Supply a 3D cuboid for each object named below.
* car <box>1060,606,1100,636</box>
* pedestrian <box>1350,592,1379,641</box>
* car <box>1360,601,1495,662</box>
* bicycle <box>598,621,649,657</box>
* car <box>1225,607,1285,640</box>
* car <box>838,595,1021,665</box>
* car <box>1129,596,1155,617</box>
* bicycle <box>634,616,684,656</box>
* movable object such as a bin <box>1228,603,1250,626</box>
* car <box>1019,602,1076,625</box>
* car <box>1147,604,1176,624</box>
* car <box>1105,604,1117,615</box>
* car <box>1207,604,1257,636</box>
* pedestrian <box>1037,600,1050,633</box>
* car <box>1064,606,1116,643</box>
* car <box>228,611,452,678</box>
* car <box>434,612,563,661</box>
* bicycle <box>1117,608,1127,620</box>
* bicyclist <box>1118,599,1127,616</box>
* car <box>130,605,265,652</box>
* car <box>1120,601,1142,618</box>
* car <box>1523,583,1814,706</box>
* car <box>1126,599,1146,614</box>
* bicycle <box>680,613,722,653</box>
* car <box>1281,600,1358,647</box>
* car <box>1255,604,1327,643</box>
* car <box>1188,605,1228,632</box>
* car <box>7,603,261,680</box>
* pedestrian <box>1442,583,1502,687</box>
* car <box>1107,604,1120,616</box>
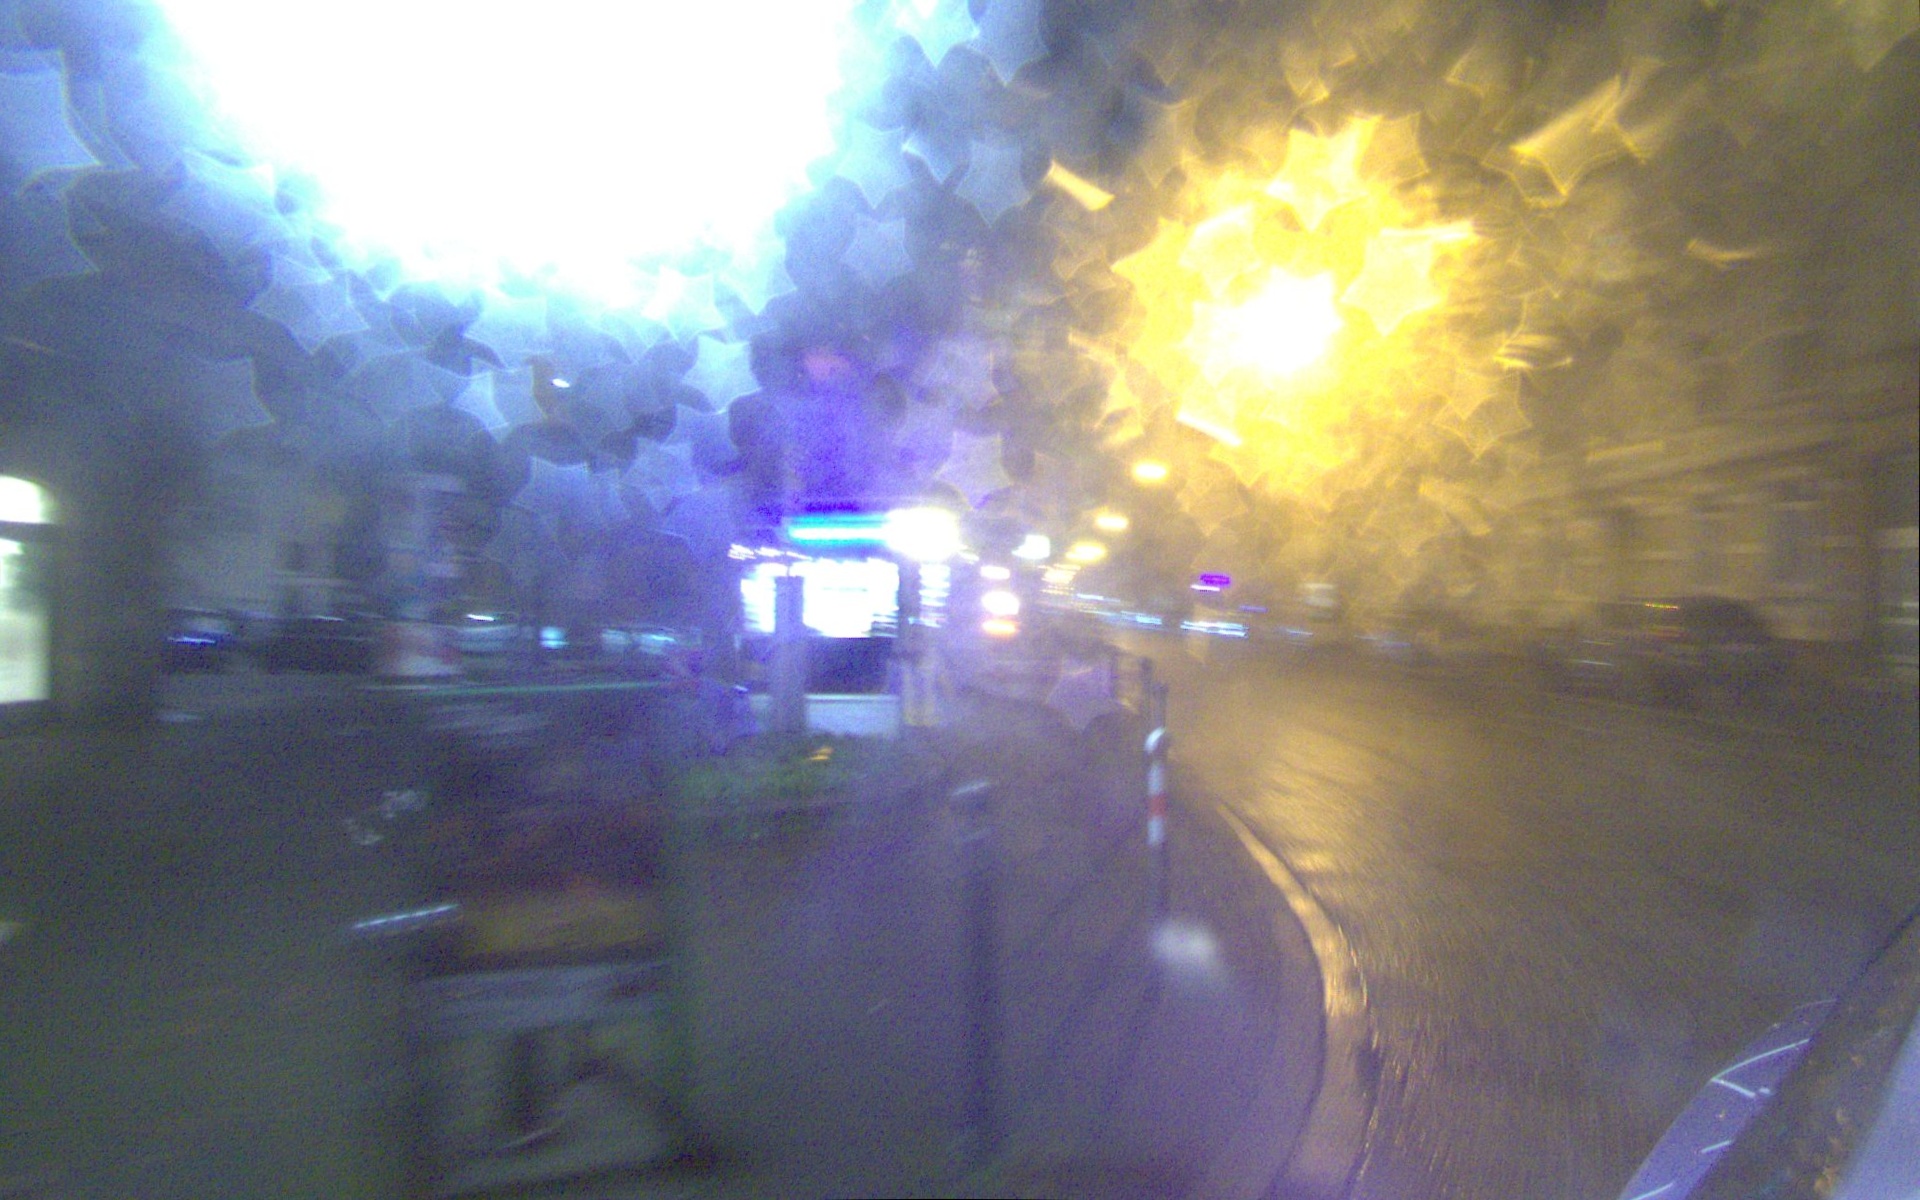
[{"bbox_3d":[6.228,1.069,52.686,1.663,1.517,3.890,0,0,1],"label":"car"},{"bbox_3d":[15.491,0.638,38.765,0.733,1.827,0.984,-3,0,8],"label":"pedestrian"},{"bbox_3d":[12.501,0.783,27.391,1.806,1.505,4.588,-1,0,5],"label":"car"},{"bbox_3d":[-10.596,1.210,31.957,0.691,1.023,1.979,-3,0,9],"label":"bicycle"},{"bbox_3d":[13.632,1.056,46.961,1.795,1.407,4.420,0,0,4],"label":"car"},{"bbox_3d":[-0.754,0.752,26.696,4.501,1.638,1.921,1,-1,10],"label":"car"},{"bbox_3d":[16.967,0.610,94.518,1.967,1.853,5.198,0,0,5],"label":"car"},{"bbox_3d":[-9.447,1.111,31.793,0.691,1.130,1.979,-3,0,9],"label":"bicycle"},{"bbox_3d":[18.161,0.943,65.975,1.084,1.472,1.378,1,0,3],"label":"movable object such as a bin"},{"bbox_3d":[6.917,1.022,80.168,4.447,1.550,1.778,3,0,5],"label":"car"},{"bbox_3d":[16.306,1.106,82.035,1.742,1.502,4.764,-4,-1,5],"label":"car"},{"bbox_3d":[20.764,1.323,139.206,1.670,1.498,3.374,-1,-2,8],"label":"car"},{"bbox_3d":[14.045,1.020,52.500,1.748,1.592,4.129,0,0,4],"label":"car"},{"bbox_3d":[4.755,0.934,57.605,0.693,1.811,0.622,1,-2,8],"label":"pedestrian"},{"bbox_3d":[5.303,0.980,41.731,1.889,1.430,3.996,0,0,4],"label":"car"},{"bbox_3d":[-14.738,1.033,24.209,4.338,1.522,1.770,0,-1,2],"label":"car"},{"bbox_3d":[-14.474,1.123,31.811,3.356,1.477,1.607,0,-1,7],"label":"car"},{"bbox_3d":[15.128,1.283,94.261,0.717,1.086,2.345,1,0,4],"label":"bicycle"},{"bbox_3d":[15.150,0.691,94.243,0.708,1.576,0.894,1,-1,5],"label":"bicyclist"},{"bbox_3d":[-24.755,0.903,32.915,3.356,1.477,1.607,0,-1,7],"label":"car"},{"bbox_3d":[18.510,1.043,109.692,1.875,1.853,4.822,0,0,5],"label":"car"},{"bbox_3d":[11.340,0.639,16.682,1.806,1.739,4.588,-1,0,5],"label":"car"},{"bbox_3d":[17.391,0.643,100.102,1.546,1.478,3.714,0,0,5],"label":"car"},{"bbox_3d":[-8.092,1.013,31.704,0.499,1.130,1.979,-3,0,9],"label":"bicycle"},{"bbox_3d":[13.025,0.808,36.887,1.720,1.609,3.760,-1,0,5],"label":"car"},{"bbox_3d":[13.548,0.916,41.637,1.806,1.500,4.301,-1,0,5],"label":"car"},{"bbox_3d":[14.512,1.073,59.311,1.647,1.510,3.717,-2,0,4],"label":"car"},{"bbox_3d":[-19.977,0.985,24.615,4.606,1.765,2.001,0,-1,2],"label":"car"},{"bbox_3d":[10.197,0.689,20.183,0.755,1.999,0.658,-2,-1,-2],"label":"pedestrian"},{"bbox_3d":[20.170,1.301,133.061,1.506,1.472,3.378,0,-1,5],"label":"car"}]
